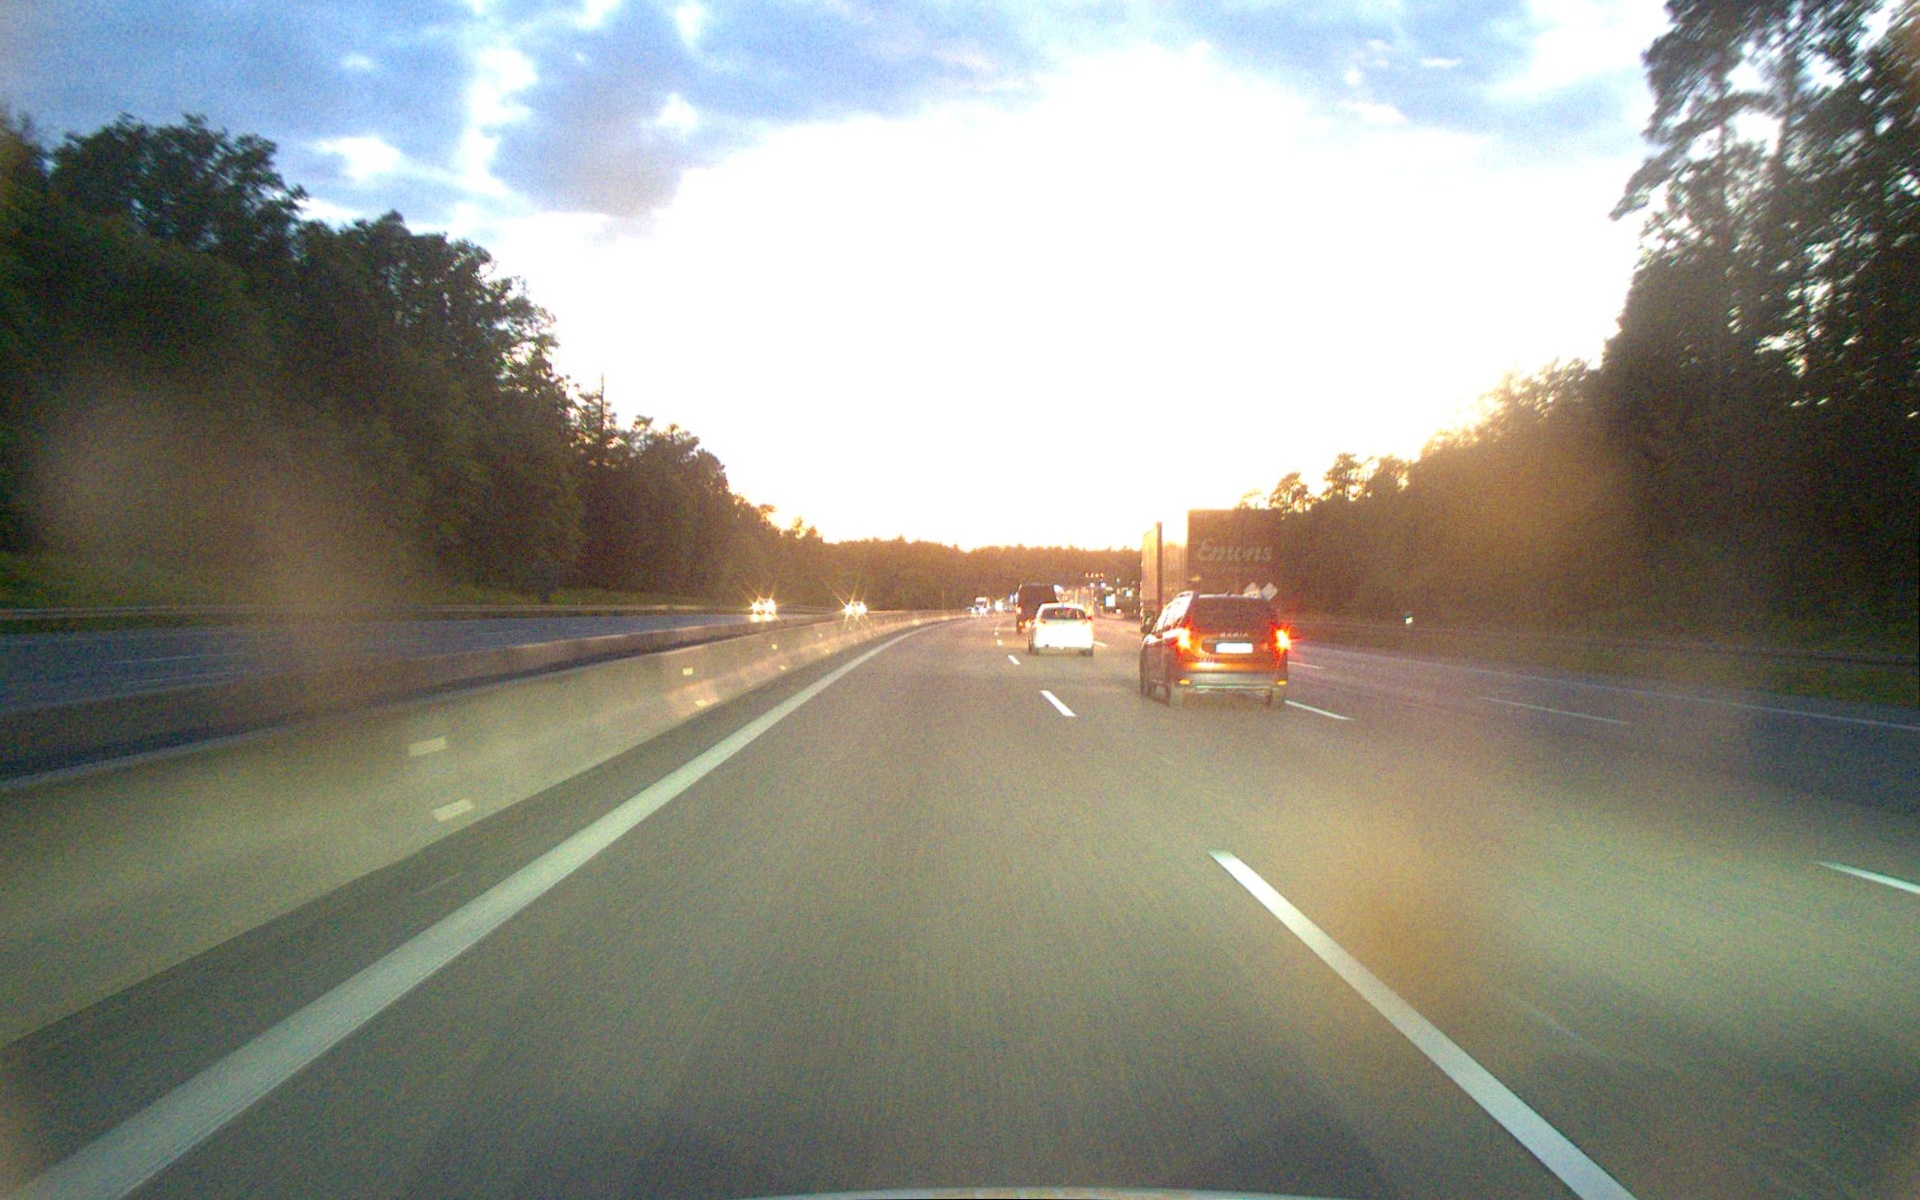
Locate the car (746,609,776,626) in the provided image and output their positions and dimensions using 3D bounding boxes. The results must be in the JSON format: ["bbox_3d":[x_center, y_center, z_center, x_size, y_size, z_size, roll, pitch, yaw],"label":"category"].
[{"bbox_3d":[-18.960,1.672,157.940,1.803,1.489,4.003,2,0,8],"label":"car"}]

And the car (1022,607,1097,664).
[{"bbox_3d":[2.800,0.980,47.231,1.821,1.467,3.720,1,1,-1],"label":"car"}]

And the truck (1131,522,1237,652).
[{"bbox_3d":[7.794,-0.330,58.955,2.825,4.172,10.835,1,-1,3],"label":"truck"}]

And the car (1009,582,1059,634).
[{"bbox_3d":[3.678,0.417,81.390,2.120,2.461,5.567,0,-1,6],"label":"car"}]

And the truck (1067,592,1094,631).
[{"bbox_3d":[18.959,1.853,259.617,4.062,5.959,14.302,0,-1,4],"label":"truck"}]

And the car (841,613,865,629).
[{"bbox_3d":[-11.141,2.159,172.502,1.804,1.489,4.778,2,0,3],"label":"car"}]

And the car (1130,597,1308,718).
[{"bbox_3d":[3.873,0.807,25.571,1.864,1.672,5.051,1,0,-1],"label":"car"}]

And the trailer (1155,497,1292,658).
[{"bbox_3d":[7.477,-0.515,48.362,2.846,4.172,10.360,1,-1,3],"label":"trailer"}]
